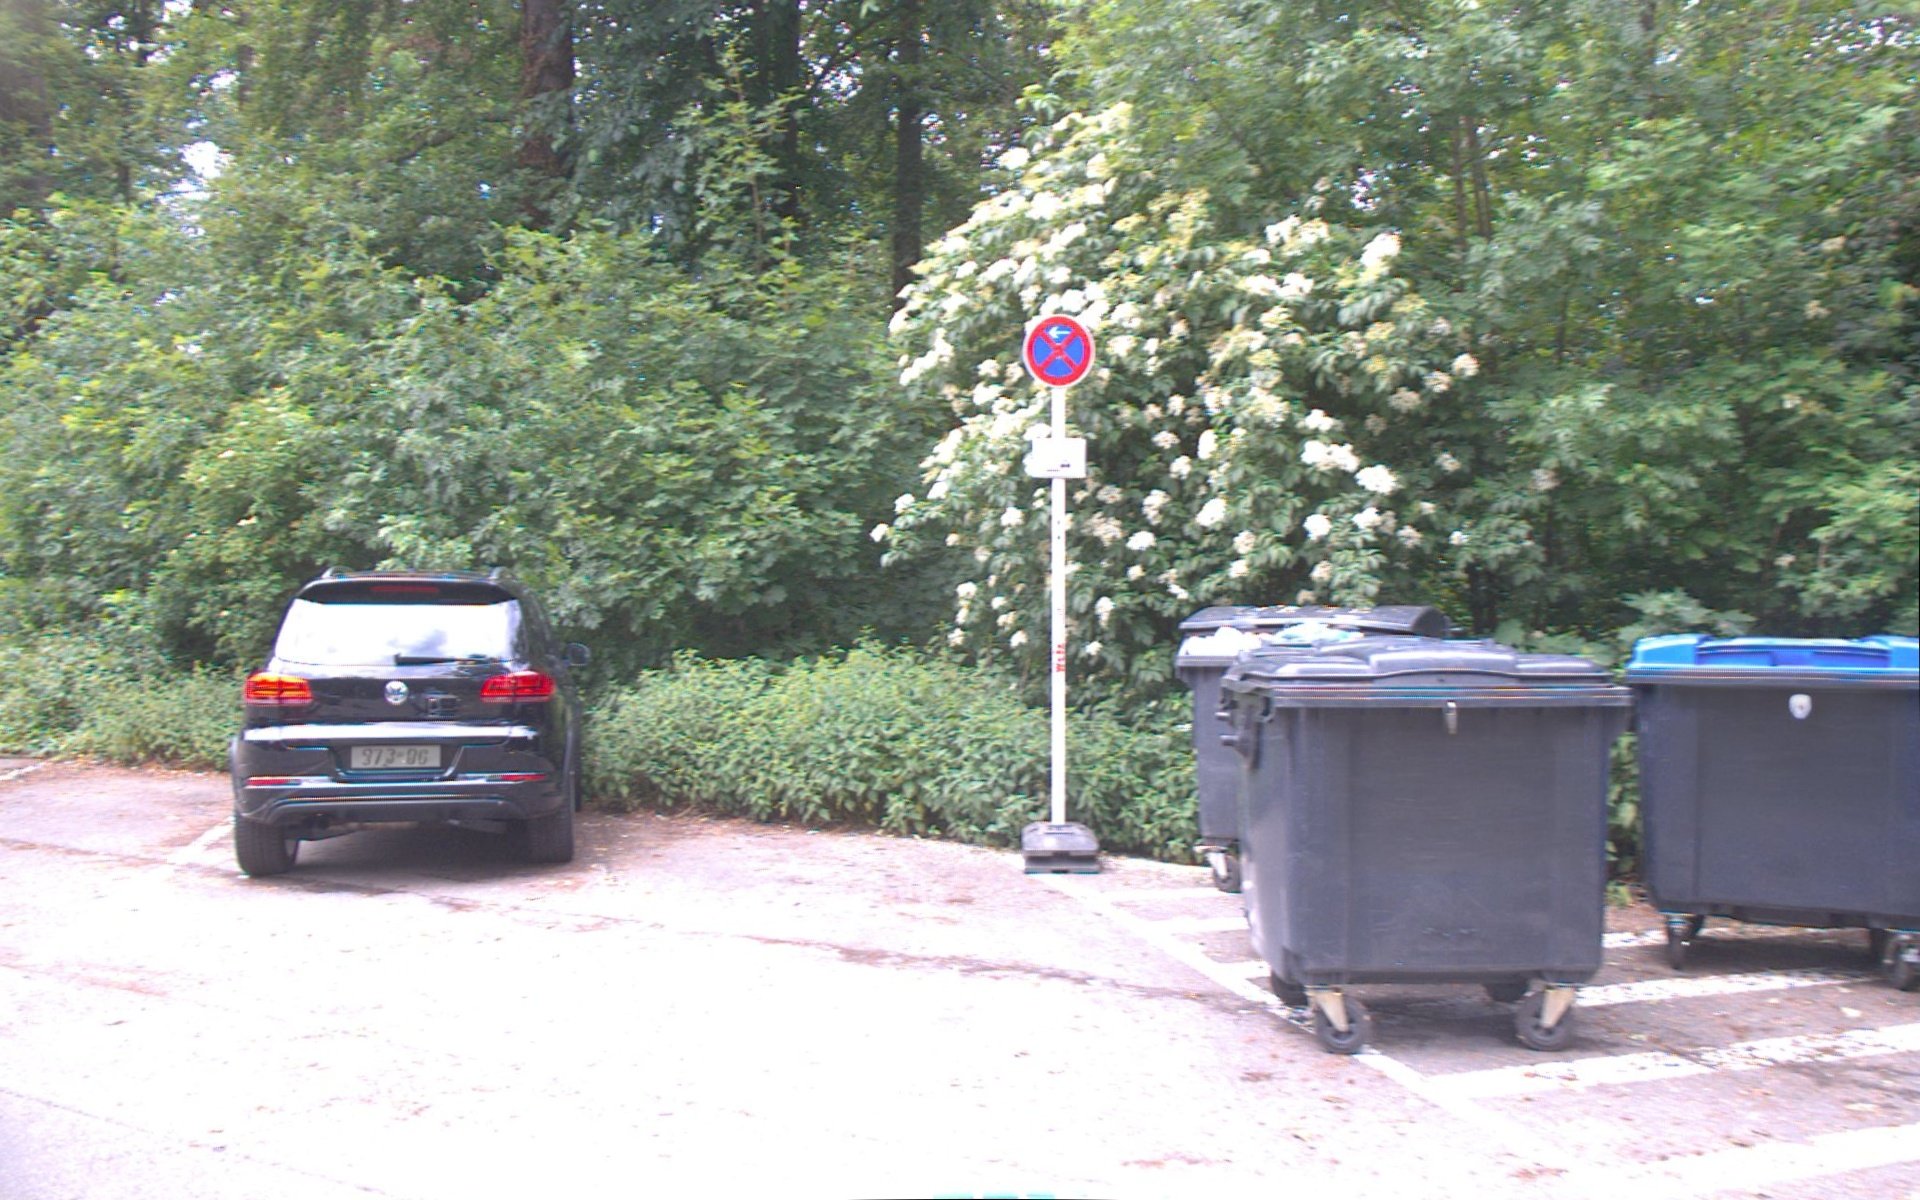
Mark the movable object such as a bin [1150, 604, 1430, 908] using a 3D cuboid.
[{"bbox_3d":[1.747,0.751,8.682,1.107,1.450,1.124,0,-1,33],"label":"movable object such as a bin"}]

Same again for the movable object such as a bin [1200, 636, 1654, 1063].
[{"bbox_3d":[1.568,0.802,5.835,1.282,1.330,1.172,0,-1,0],"label":"movable object such as a bin"}]

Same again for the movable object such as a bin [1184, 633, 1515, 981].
[{"bbox_3d":[1.600,0.819,7.034,1.156,1.338,1.127,0,-1,0],"label":"movable object such as a bin"}]

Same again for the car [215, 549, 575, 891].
[{"bbox_3d":[-3.343,0.607,10.490,1.748,1.714,4.058,0,0,-13],"label":"car"}]

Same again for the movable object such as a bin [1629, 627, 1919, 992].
[{"bbox_3d":[3.453,0.789,6.834,1.212,1.343,1.126,0,-1,26],"label":"movable object such as a bin"}]
